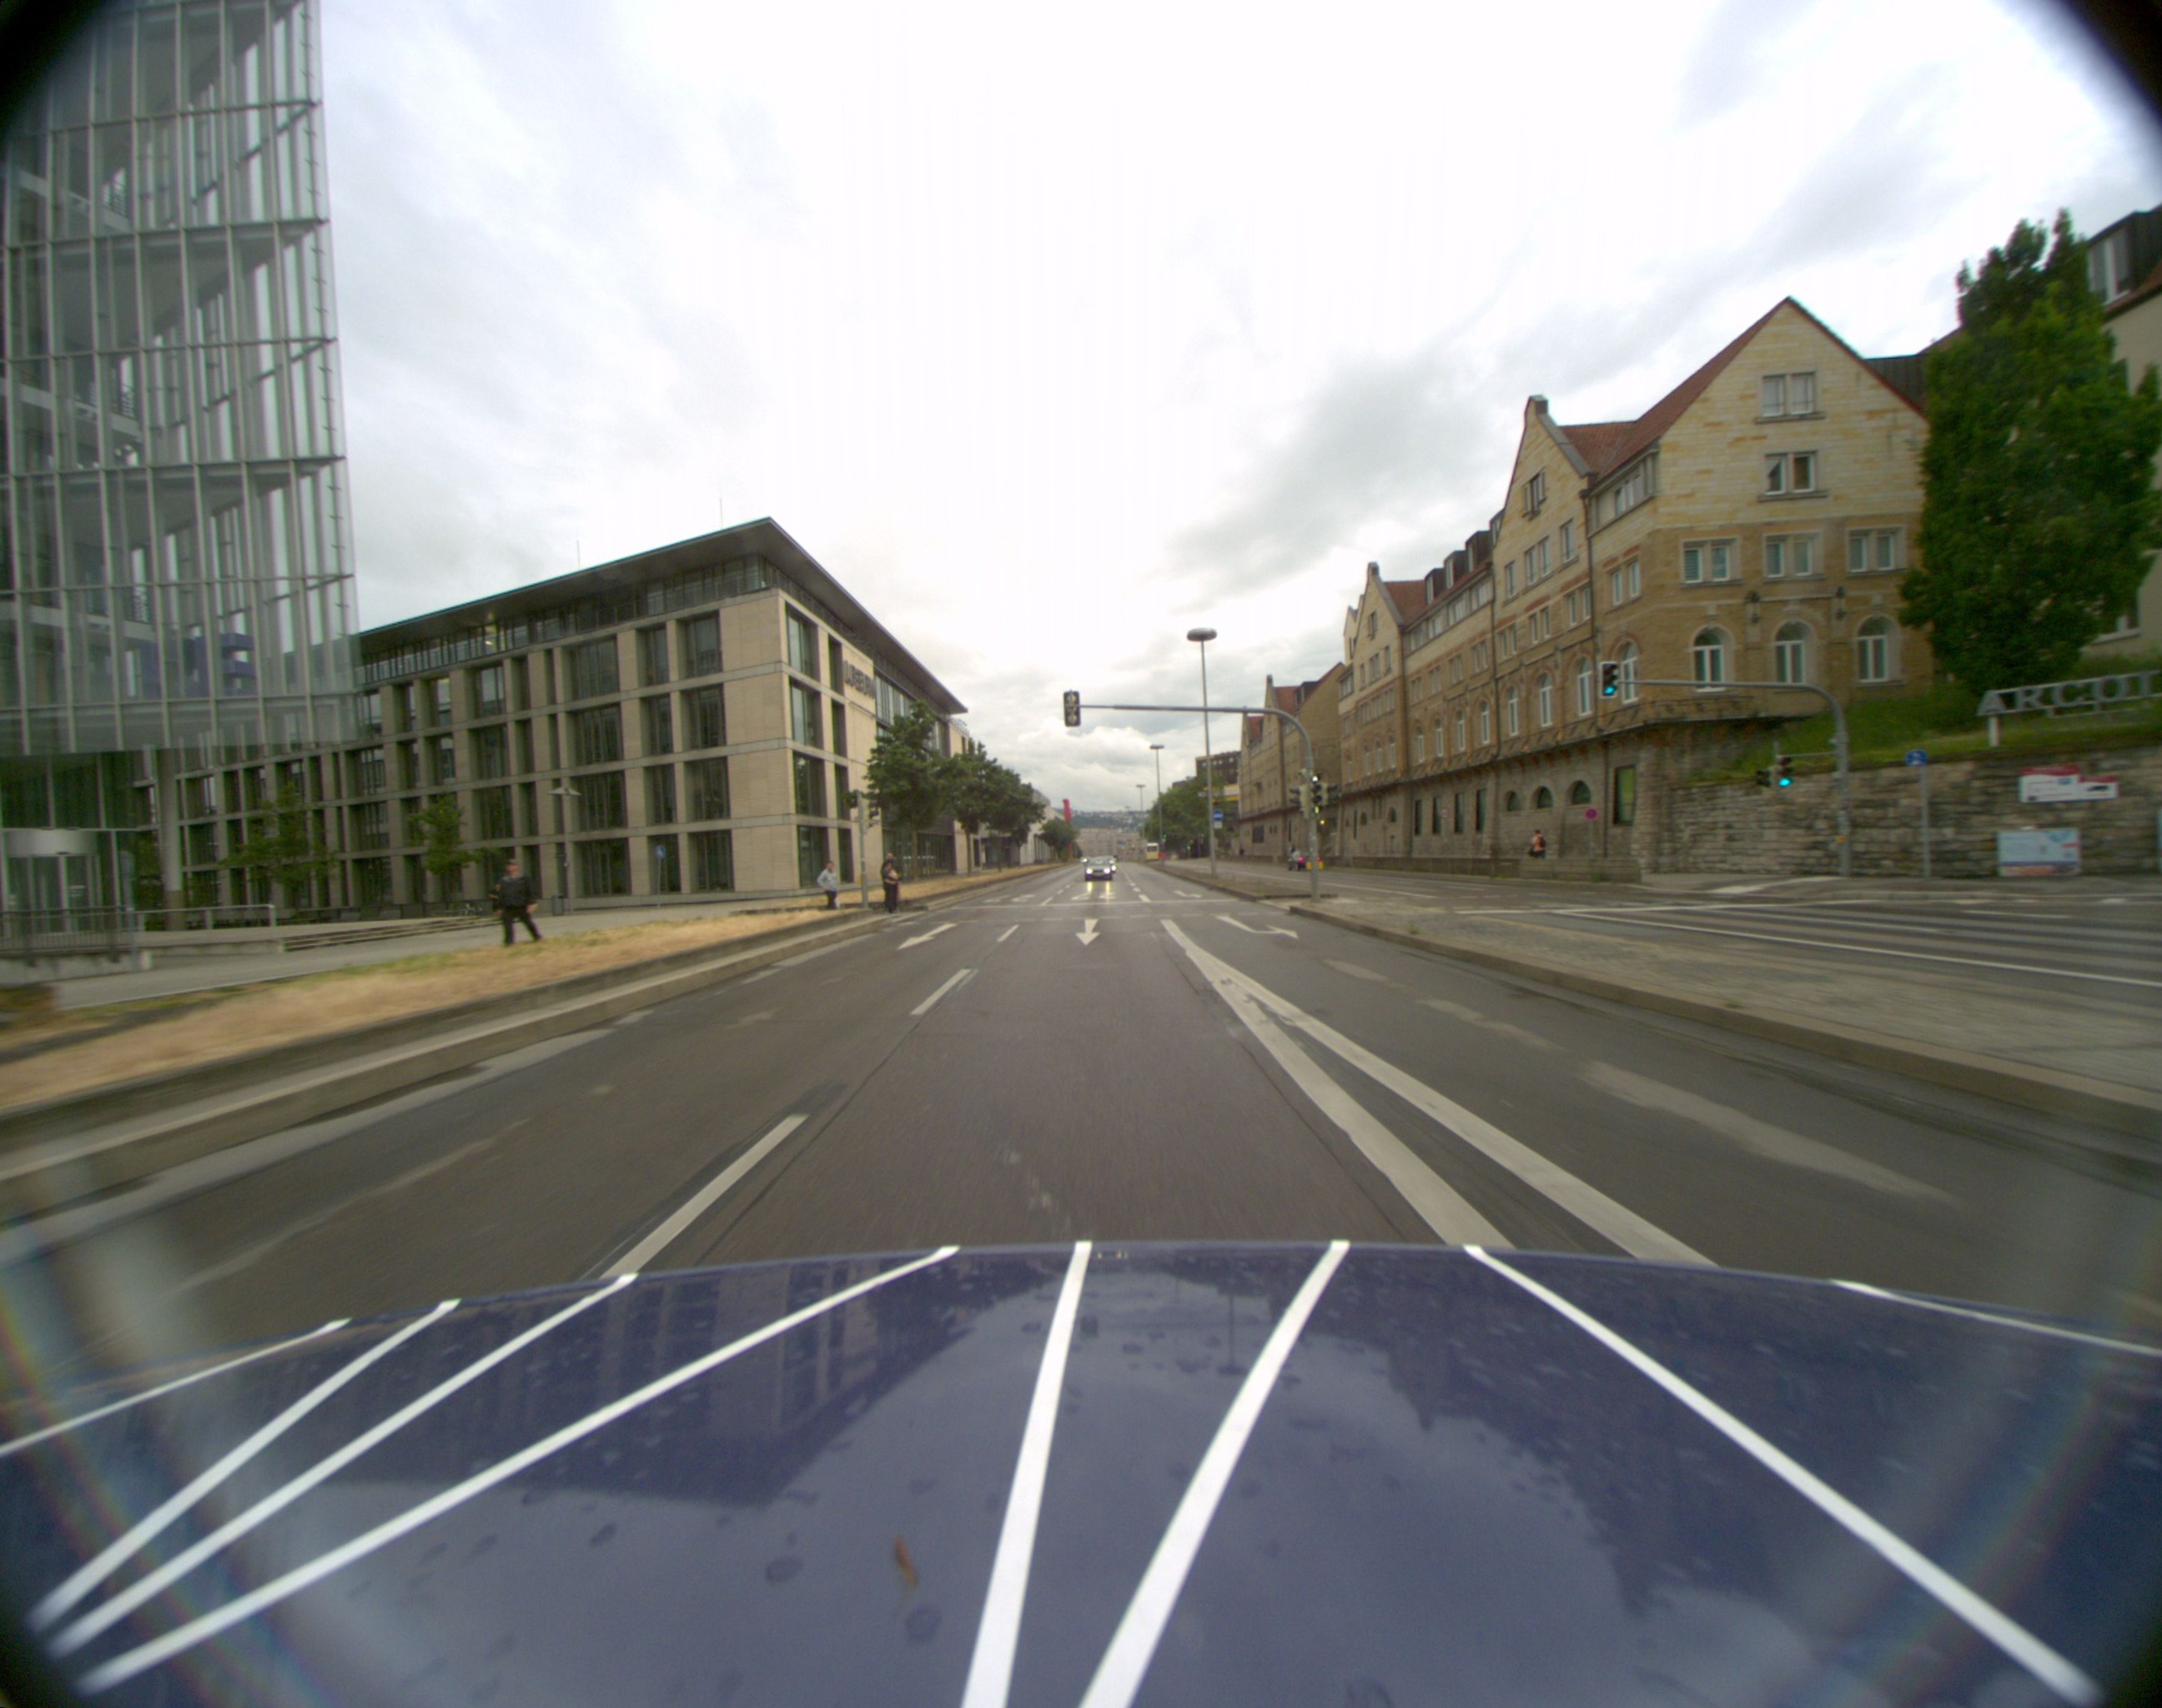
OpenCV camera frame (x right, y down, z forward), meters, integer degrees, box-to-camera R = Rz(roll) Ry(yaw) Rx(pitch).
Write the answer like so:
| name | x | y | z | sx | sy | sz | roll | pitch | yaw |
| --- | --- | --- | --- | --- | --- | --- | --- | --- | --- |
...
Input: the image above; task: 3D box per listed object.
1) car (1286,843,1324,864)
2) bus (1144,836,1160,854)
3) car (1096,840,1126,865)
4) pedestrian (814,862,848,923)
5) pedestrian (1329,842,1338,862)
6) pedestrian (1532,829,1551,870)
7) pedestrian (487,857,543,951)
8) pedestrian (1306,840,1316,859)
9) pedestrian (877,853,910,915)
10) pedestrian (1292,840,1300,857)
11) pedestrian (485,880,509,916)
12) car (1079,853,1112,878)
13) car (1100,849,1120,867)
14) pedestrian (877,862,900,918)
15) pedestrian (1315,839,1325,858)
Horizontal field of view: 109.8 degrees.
| name | x | y | z | sx | sy | sz | roll | pitch | yaw |
| --- | --- | --- | --- | --- | --- | --- | --- | --- | --- |
| car | 16.350 | -0.035 | 55.610 | 1.714 | 1.455 | 4.000 | -3 | 0 | 2 |
| bus | 13.721 | -1.731 | 147.494 | 2.500 | 3.320 | 8.445 | -3 | 1 | 2 |
| car | 2.476 | -0.179 | 63.924 | 1.999 | 2.002 | 3.997 | -2 | 1 | -5 |
| pedestrian | -6.758 | 1.024 | 20.566 | 0.460 | 1.590 | 0.657 | -1 | 2 | 30 |
| pedestrian | 23.886 | -0.193 | 71.899 | 0.677 | 1.769 | 0.683 | -2 | 2 | 2 |
| pedestrian | 20.047 | -0.186 | 33.100 | 0.676 | 1.769 | 0.685 | -1 | 2 | 32 |
| pedestrian | -10.059 | 0.868 | 13.503 | 0.662 | 1.601 | 0.545 | -3 | 1 | -43 |
| pedestrian | 20.988 | -0.409 | 69.337 | 0.677 | 1.769 | 0.683 | -2 | 2 | 2 |
| pedestrian | -5.500 | 0.874 | 22.354 | 0.728 | 1.761 | 0.783 | -2 | 2 | -3 |
| pedestrian | 22.421 | -0.574 | 79.300 | 0.677 | 1.769 | 0.683 | -2 | 2 | 2 |
| pedestrian | -29.102 | 2.206 | 37.857 | 0.634 | 1.735 | 0.635 | -1 | 2 | 22 |
| car | 0.870 | 0.654 | 46.919 | 1.685 | 1.379 | 3.474 | -2 | 1 | -4 |
| car | 3.109 | 0.457 | 81.492 | 1.970 | 1.815 | 3.929 | -3 | -1 | 2 |
| pedestrian | -5.360 | 0.991 | 21.164 | 0.543 | 1.519 | 0.600 | -2 | 2 | -12 |
| pedestrian | 22.644 | -0.486 | 72.038 | 0.677 | 1.769 | 0.683 | -2 | 2 | 2 |
